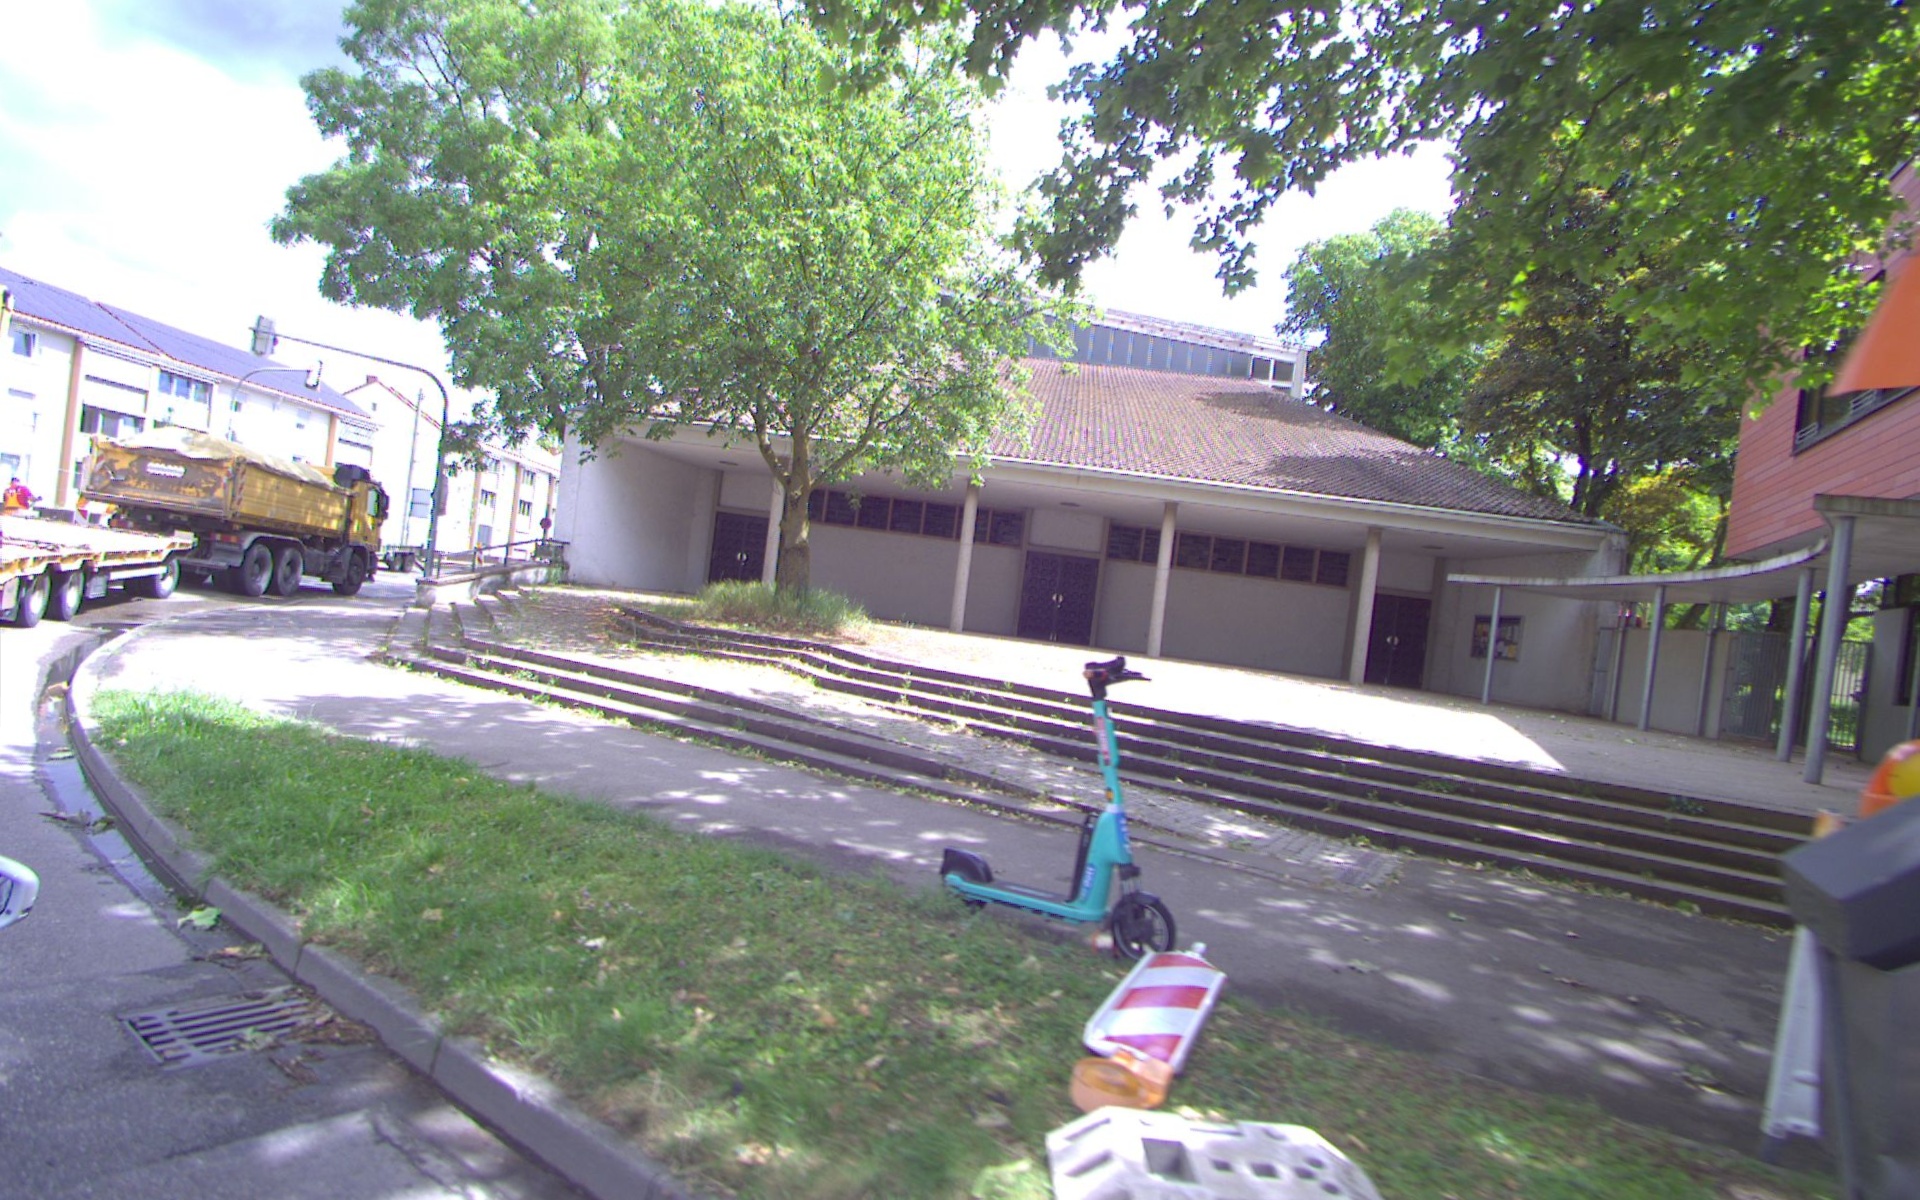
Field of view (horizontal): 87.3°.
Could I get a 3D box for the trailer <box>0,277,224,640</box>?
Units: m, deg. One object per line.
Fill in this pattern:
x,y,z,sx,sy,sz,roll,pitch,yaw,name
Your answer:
-13.121,-1.780,13.936,2.802,3.564,10.972,9,-2,-28,trailer

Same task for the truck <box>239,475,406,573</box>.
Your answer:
-22.453,-2.544,35.867,2.628,2.758,6.380,8,0,-12,truck

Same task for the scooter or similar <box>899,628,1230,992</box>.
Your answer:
0.427,0.821,4.351,1.177,1.248,0.563,7,1,38,scooter or similar

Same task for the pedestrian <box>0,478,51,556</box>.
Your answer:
-20.680,-1.831,22.200,0.760,1.570,0.889,8,1,-44,pedestrian

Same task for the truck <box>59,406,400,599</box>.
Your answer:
-15.981,-1.882,22.946,2.879,3.204,7.665,9,-1,-10,truck

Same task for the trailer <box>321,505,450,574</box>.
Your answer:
-23.802,-2.401,42.053,2.628,2.240,6.233,8,0,-12,trailer
